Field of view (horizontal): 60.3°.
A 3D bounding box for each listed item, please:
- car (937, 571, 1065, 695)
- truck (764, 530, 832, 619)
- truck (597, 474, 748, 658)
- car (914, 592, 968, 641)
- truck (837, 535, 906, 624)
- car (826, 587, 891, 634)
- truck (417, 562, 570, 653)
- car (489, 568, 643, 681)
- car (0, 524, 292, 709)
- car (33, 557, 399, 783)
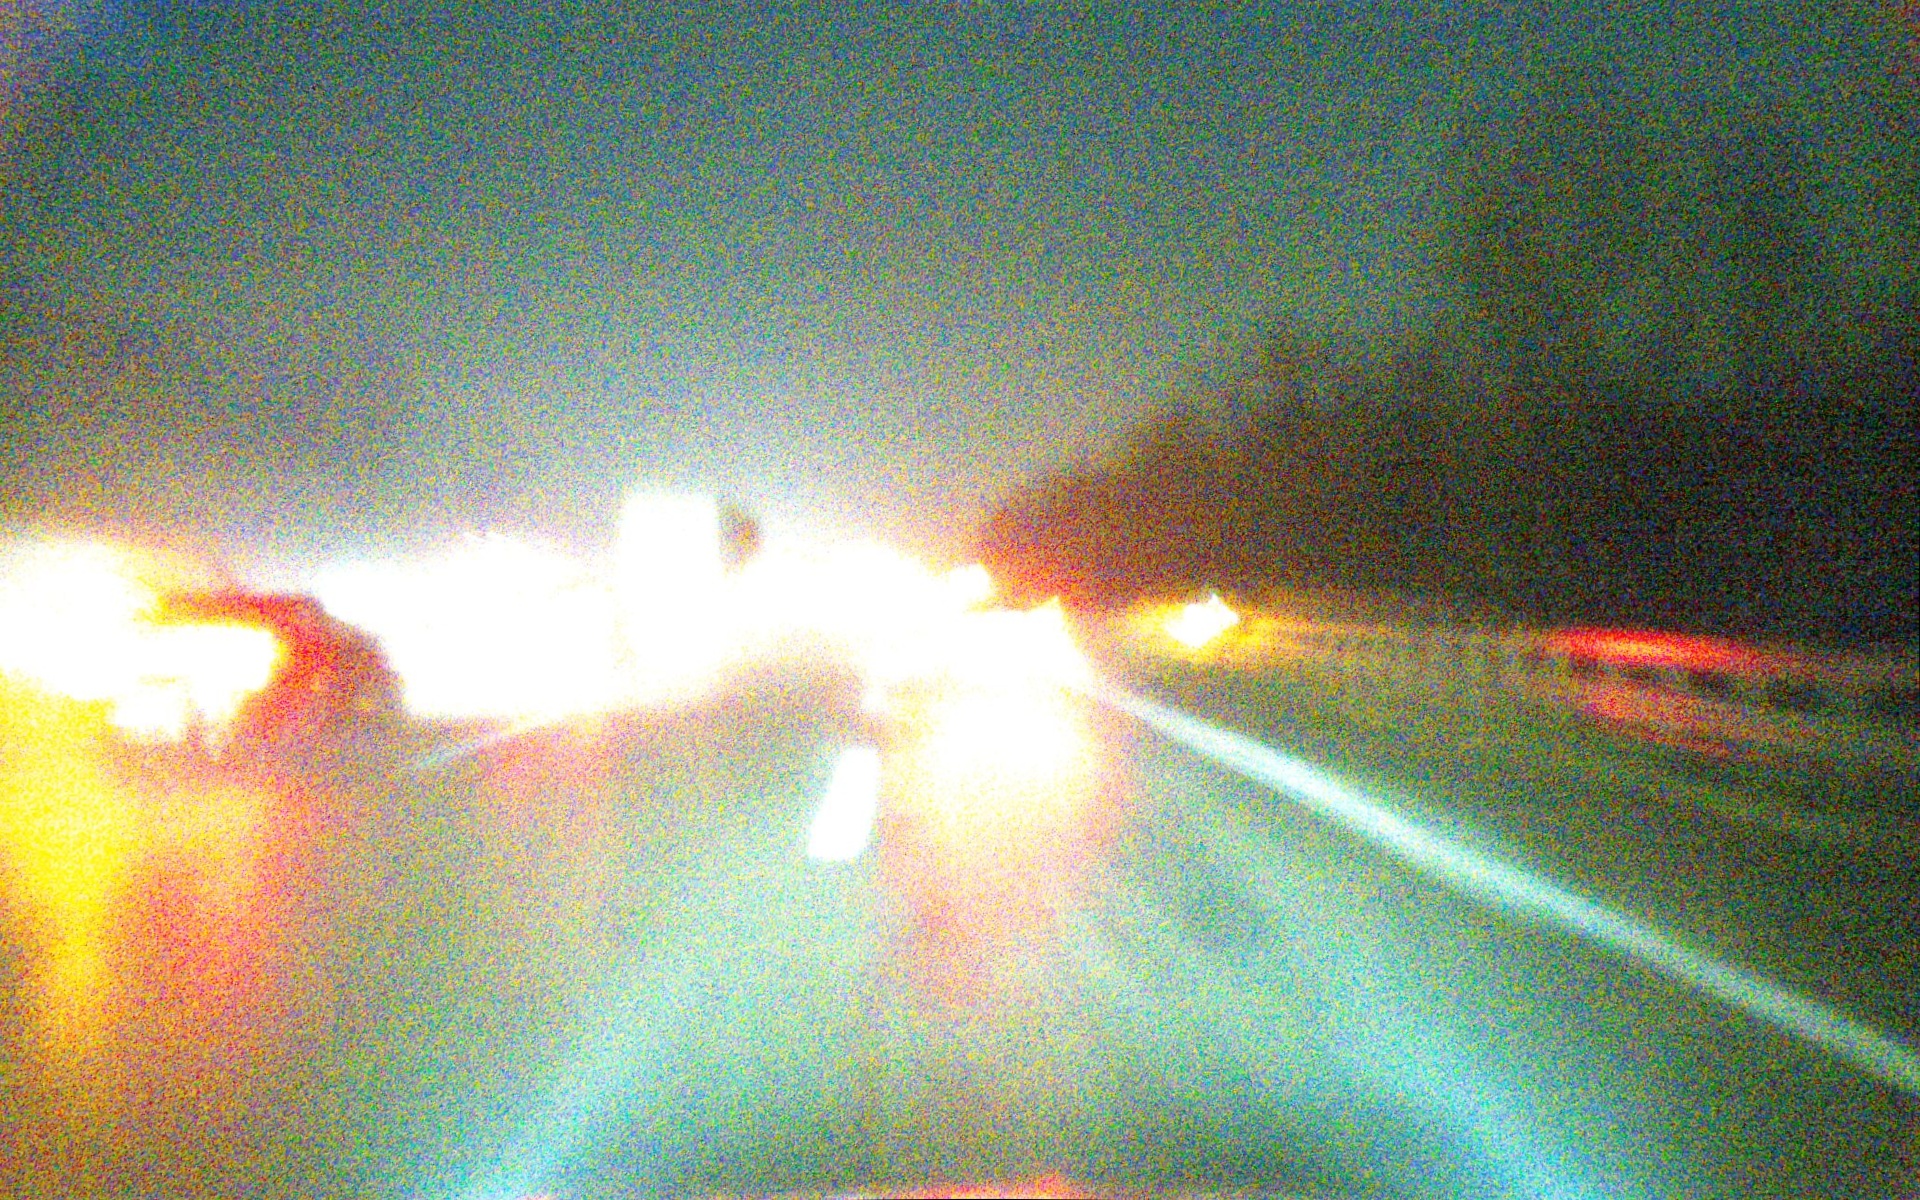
[{"bbox_3d":[0.579,0.483,26.373,1.840,1.793,3.999,1,0,-1],"label":"car"},{"bbox_3d":[-10.672,-1.596,109.687,4.171,5.539,10.872,1,0,-5],"label":"truck"},{"bbox_3d":[-8.284,-0.898,48.988,3.585,4.820,9.840,1,0,-6],"label":"truck"},{"bbox_3d":[-0.756,0.605,62.620,1.953,1.733,4.457,1,0,-2],"label":"car"},{"bbox_3d":[-5.684,-1.229,104.610,4.080,5.306,9.945,1,0,-4],"label":"truck"},{"bbox_3d":[-4.674,0.485,77.302,2.775,2.049,5.509,1,0,-1],"label":"car"},{"bbox_3d":[-12.462,0.198,44.679,2.801,2.239,5.853,1,0,-4],"label":"truck"},{"bbox_3d":[-6.761,0.397,28.849,1.999,1.792,4.510,1,0,-6],"label":"car"},{"bbox_3d":[-10.985,0.171,22.039,2.081,2.141,5.626,1,0,-3],"label":"car"},{"bbox_3d":[-6.357,0.509,14.646,1.731,1.718,3.996,1,1,-5],"label":"car"}]
